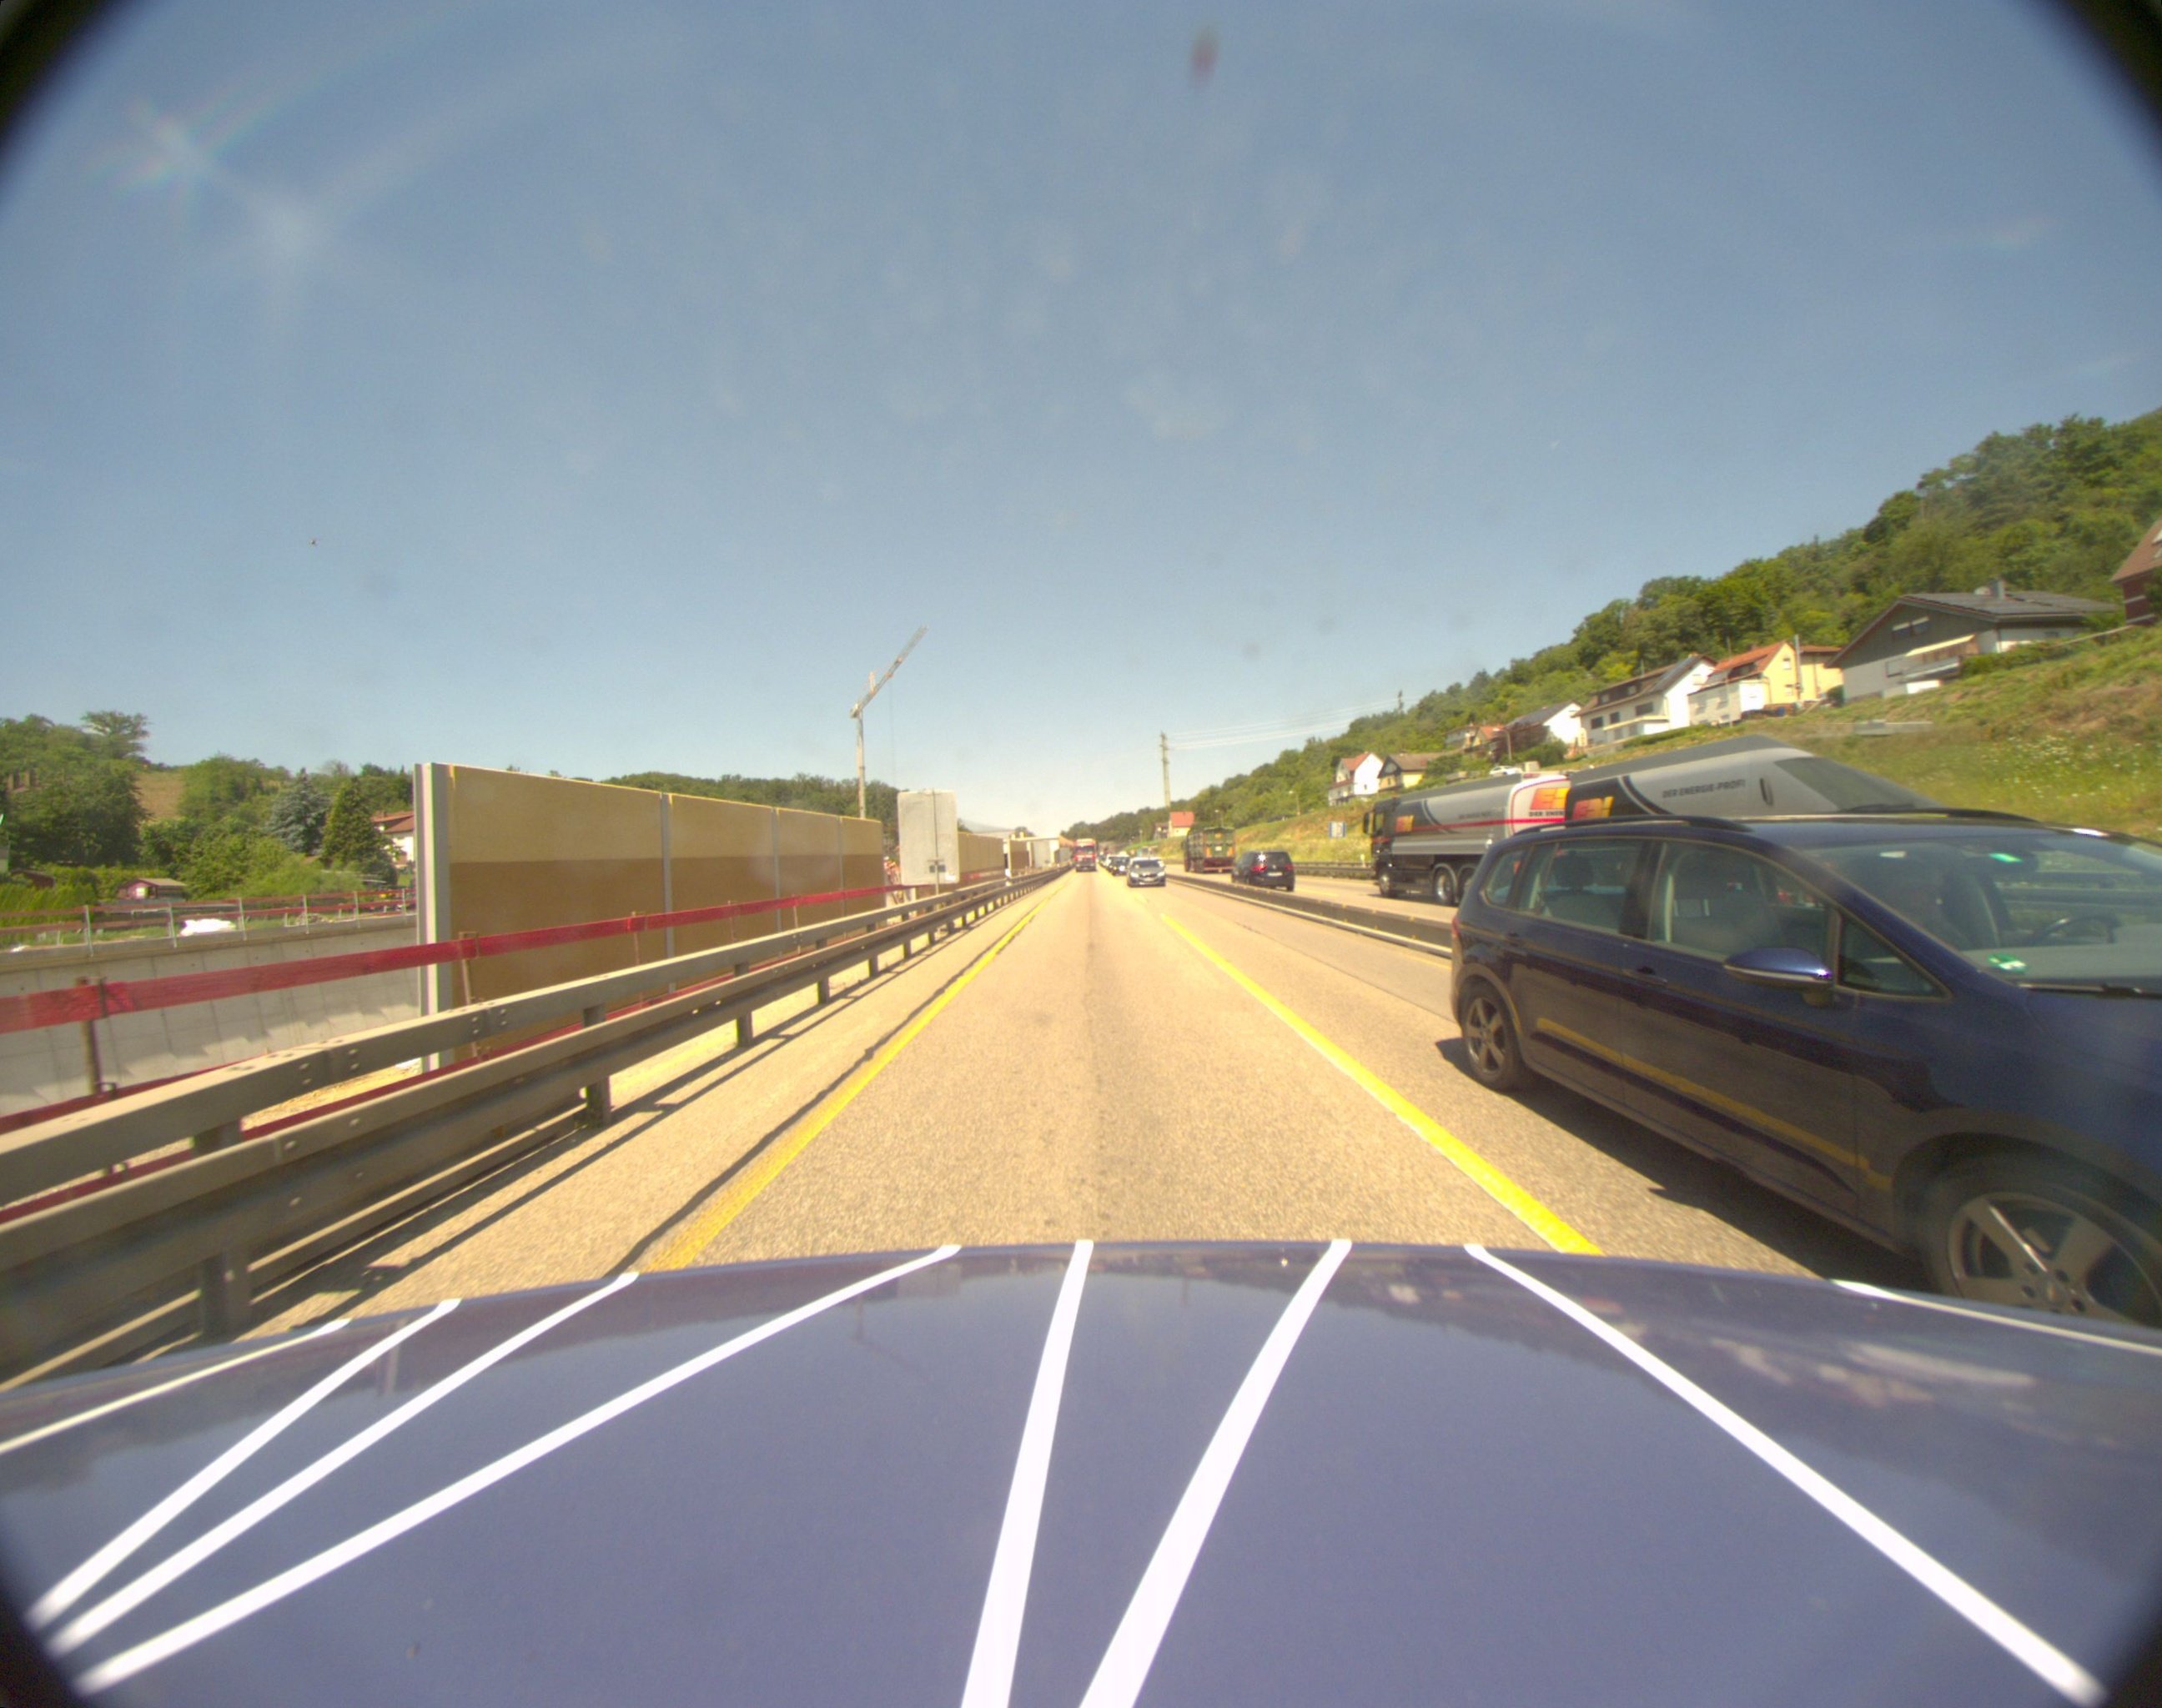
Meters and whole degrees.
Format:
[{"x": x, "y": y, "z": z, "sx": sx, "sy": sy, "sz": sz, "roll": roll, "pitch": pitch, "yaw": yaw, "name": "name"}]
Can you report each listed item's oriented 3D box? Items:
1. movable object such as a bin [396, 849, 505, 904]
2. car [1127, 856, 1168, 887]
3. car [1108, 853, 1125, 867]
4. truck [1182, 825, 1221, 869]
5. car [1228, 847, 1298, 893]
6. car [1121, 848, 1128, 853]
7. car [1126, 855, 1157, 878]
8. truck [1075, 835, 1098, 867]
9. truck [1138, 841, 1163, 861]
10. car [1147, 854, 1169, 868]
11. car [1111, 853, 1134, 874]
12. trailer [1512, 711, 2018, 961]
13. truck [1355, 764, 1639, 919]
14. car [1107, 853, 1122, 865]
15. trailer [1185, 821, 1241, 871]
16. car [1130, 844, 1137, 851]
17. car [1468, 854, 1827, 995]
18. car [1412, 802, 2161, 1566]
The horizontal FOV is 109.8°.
[{"x": -37.512, "y": 1.274, "z": 45.414, "sx": 2.202, "sy": 3.065, "sz": 4.918, "roll": -2, "pitch": 0, "yaw": 1, "name": "movable object such as a bin"}, {"x": 3.382, "y": 0.890, "z": 39.479, "sx": 1.780, "sy": 1.447, "sz": 4.336, "roll": -2, "pitch": -1, "yaw": 1, "name": "car"}, {"x": 3.933, "y": 0.660, "z": 84.599, "sx": 1.780, "sy": 1.486, "sz": 4.336, "roll": -2, "pitch": -1, "yaw": 1, "name": "car"}, {"x": 11.275, "y": -0.599, "z": 71.327, "sx": 2.902, "sy": 3.915, "sz": 4.178, "roll": -2, "pitch": 0, "yaw": 1, "name": "truck"}, {"x": 7.180, "y": 0.578, "z": 30.350, "sx": 1.722, "sy": 1.625, "sz": 4.499, "roll": -2, "pitch": 0, "yaw": 1, "name": "car"}, {"x": 13.467, "y": -1.159, "z": 236.172, "sx": 1.679, "sy": 1.615, "sz": 4.044, "roll": -2, "pitch": 0, "yaw": 0, "name": "car"}, {"x": 4.043, "y": 0.834, "z": 51.439, "sx": 1.780, "sy": 1.447, "sz": 4.336, "roll": -2, "pitch": -1, "yaw": 1, "name": "car"}, {"x": 0.758, "y": -0.273, "z": 95.554, "sx": 2.605, "sy": 3.704, "sz": 10.537, "roll": -2, "pitch": -1, "yaw": 1, "name": "truck"}, {"x": 12.182, "y": -0.467, "z": 134.208, "sx": 2.769, "sy": 3.303, "sz": 15.936, "roll": -2, "pitch": 0, "yaw": 0, "name": "truck"}, {"x": 8.210, "y": 0.716, "z": 81.328, "sx": 1.777, "sy": 1.461, "sz": 4.440, "roll": -2, "pitch": 0, "yaw": 0, "name": "car"}, {"x": 3.667, "y": 0.812, "z": 67.802, "sx": 1.780, "sy": 1.727, "sz": 4.336, "roll": -2, "pitch": -1, "yaw": 1, "name": "car"}, {"x": 10.259, "y": -0.216, "z": 12.575, "sx": 2.619, "sy": 2.983, "sz": 6.370, "roll": -2, "pitch": 0, "yaw": 1, "name": "trailer"}, {"x": 10.299, "y": -0.259, "z": 20.342, "sx": 2.733, "sy": 3.124, "sz": 8.959, "roll": -2, "pitch": 0, "yaw": 1, "name": "truck"}, {"x": 4.329, "y": 0.611, "z": 98.373, "sx": 1.780, "sy": 1.486, "sz": 4.336, "roll": -2, "pitch": -1, "yaw": 1, "name": "car"}, {"x": 11.233, "y": -0.632, "z": 65.744, "sx": 2.920, "sy": 3.915, "sz": 10.526, "roll": -2, "pitch": 0, "yaw": 1, "name": "trailer"}, {"x": 16.455, "y": -2.046, "z": 238.377, "sx": 1.679, "sy": 2.203, "sz": 4.044, "roll": -2, "pitch": 0, "yaw": 0, "name": "car"}, {"x": 6.786, "y": 0.720, "z": 9.715, "sx": 1.670, "sy": 1.386, "sz": 3.905, "roll": -2, "pitch": 0, "yaw": 0, "name": "car"}, {"x": 3.299, "y": 0.719, "z": 3.213, "sx": 1.780, "sy": 1.708, "sz": 4.653, "roll": -2, "pitch": -1, "yaw": 1, "name": "car"}]
